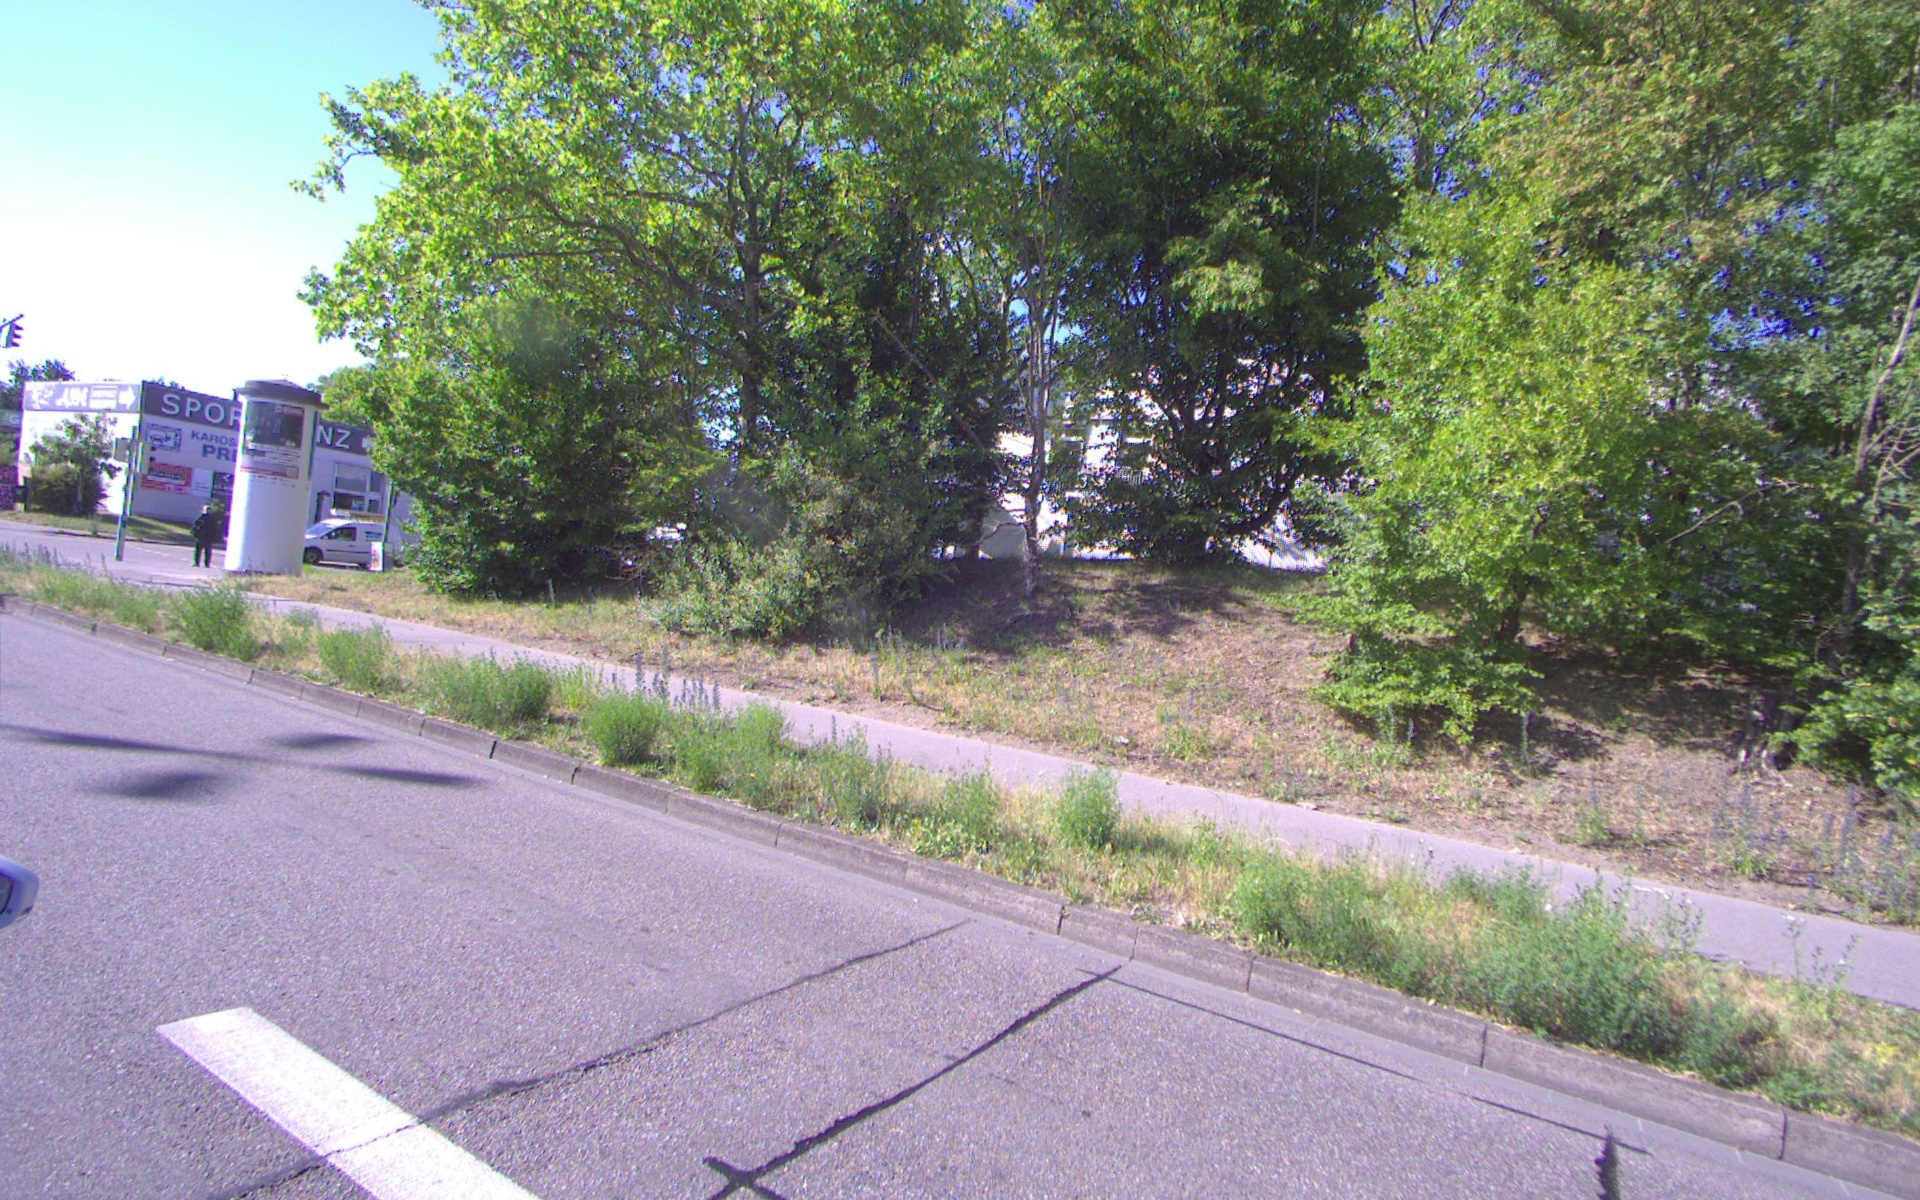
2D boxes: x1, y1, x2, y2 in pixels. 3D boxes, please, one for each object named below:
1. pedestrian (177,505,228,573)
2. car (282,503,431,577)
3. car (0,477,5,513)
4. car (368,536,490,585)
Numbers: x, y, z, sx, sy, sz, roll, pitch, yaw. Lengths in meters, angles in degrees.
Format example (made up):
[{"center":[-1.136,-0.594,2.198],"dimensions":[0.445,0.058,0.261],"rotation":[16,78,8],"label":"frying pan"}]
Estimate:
[{"center":[-21.087,-1.703,28.006],"dimensions":[0.841,1.743,0.822],"rotation":[7,0,39],"label":"pedestrian"},{"center":[-23.386,-2.285,39.169],"dimensions":[1.965,2.171,4.415],"rotation":[7,-1,28],"label":"car"},{"center":[-48.287,-5.339,47.678],"dimensions":[1.663,1.726,4.003],"rotation":[7,-1,16],"label":"car"},{"center":[-23.756,-1.740,45.169],"dimensions":[1.965,1.571,4.415],"rotation":[7,-1,28],"label":"car"}]
